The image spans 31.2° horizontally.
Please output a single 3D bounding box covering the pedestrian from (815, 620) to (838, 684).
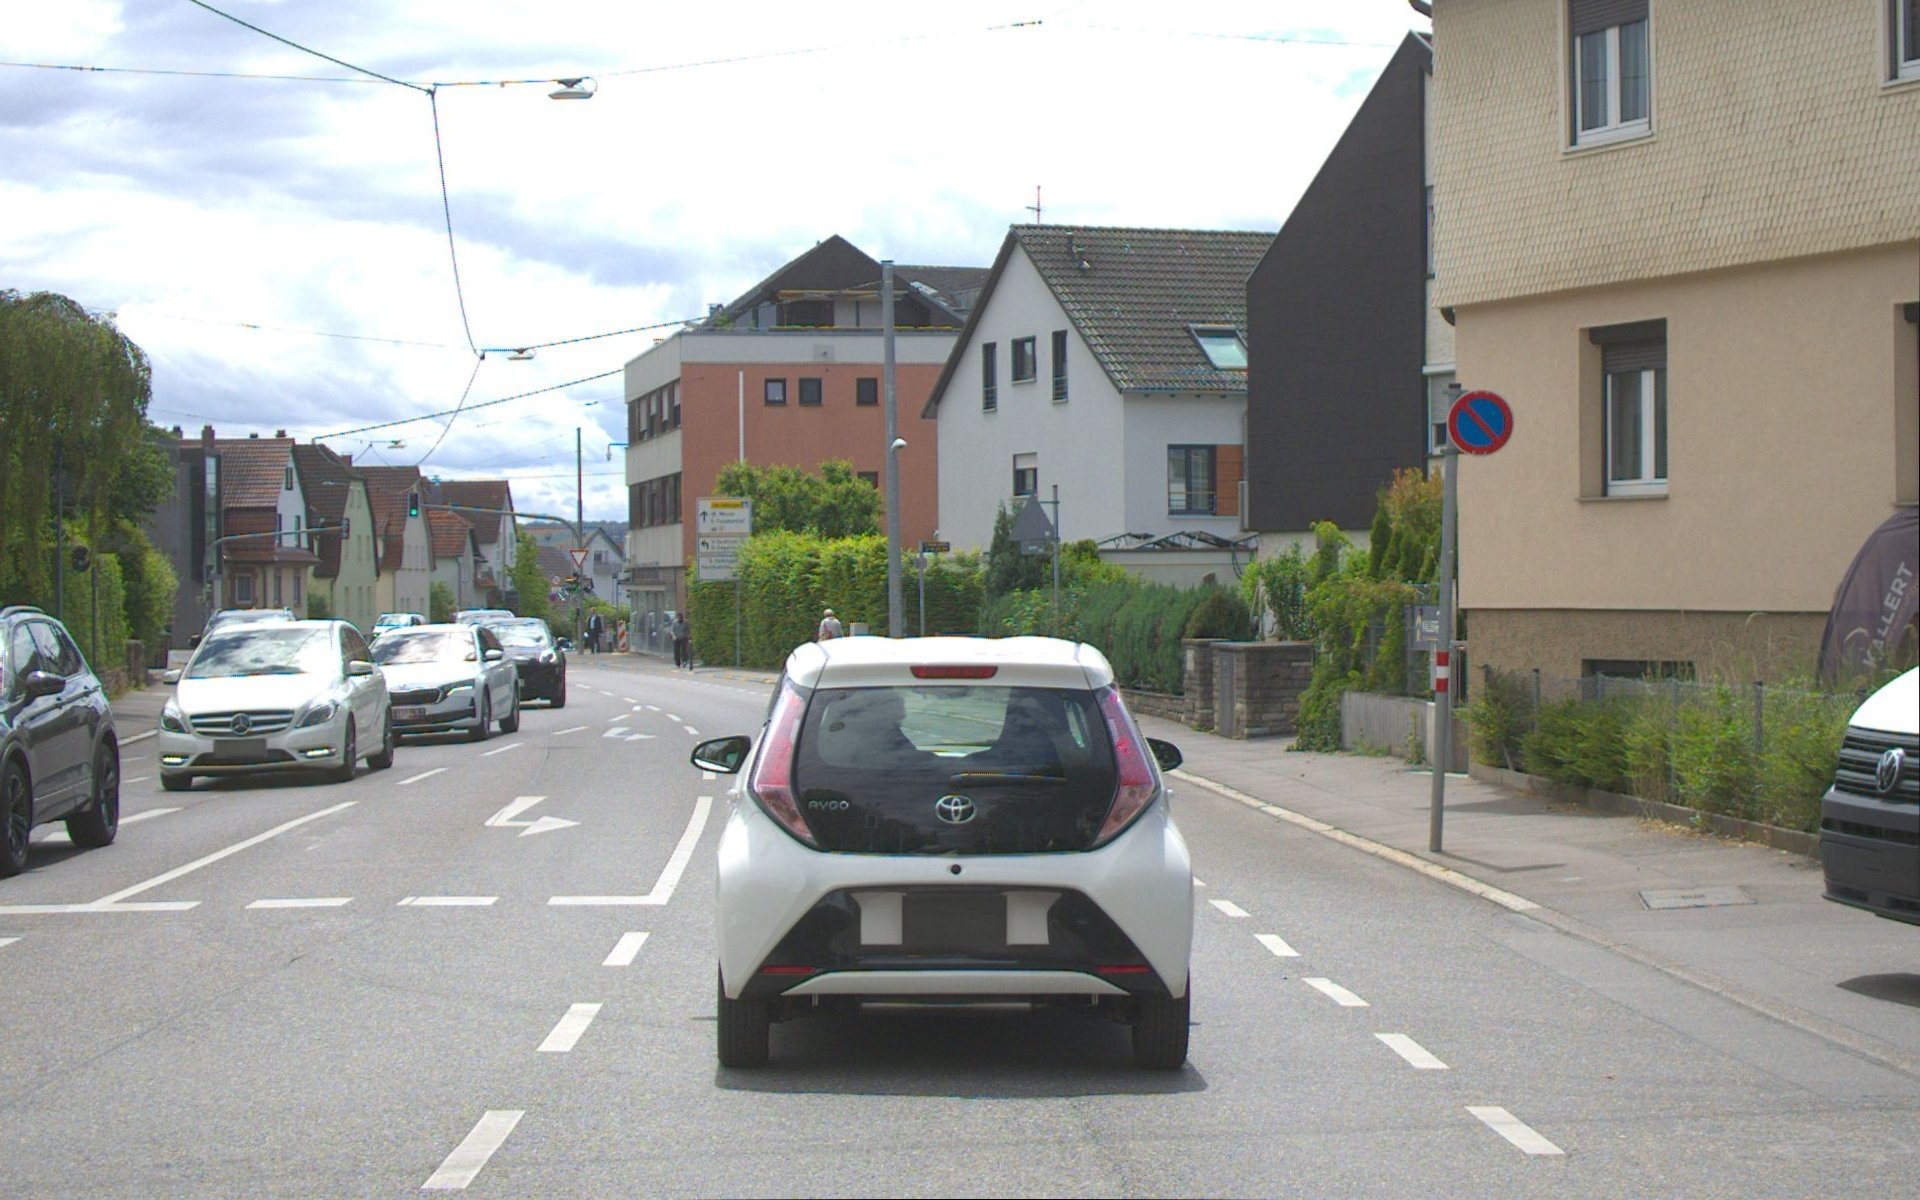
[{"bbox_3d":[-3.002,1.158,77.094,0.413,1.433,0.438,1,0,-15],"label":"pedestrian"}]

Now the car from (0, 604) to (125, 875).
[{"bbox_3d":[-6.639,0.872,21.793,1.775,1.598,4.169,-3,0,-3],"label":"car"}]

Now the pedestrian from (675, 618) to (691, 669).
[{"bbox_3d":[-7.938,1.244,98.401,0.413,1.433,0.438,1,0,-9],"label":"pedestrian"}]

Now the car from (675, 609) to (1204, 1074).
[{"bbox_3d":[-0.225,0.800,13.034,1.620,1.481,4.000,1,-1,-6],"label":"car"}]

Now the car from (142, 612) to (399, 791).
[{"bbox_3d":[-6.661,0.944,33.584,1.775,1.556,4.169,-3,0,-3],"label":"car"}]

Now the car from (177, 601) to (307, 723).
[{"bbox_3d":[-11.754,0.998,56.471,1.774,1.840,4.009,-3,0,-8],"label":"car"}]

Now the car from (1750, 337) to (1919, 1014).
[{"bbox_3d":[6.479,0.287,14.157,5.994,2.573,2.001,0,0,-12],"label":"car"}]

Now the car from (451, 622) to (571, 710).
[{"bbox_3d":[-7.566,1.093,58.224,1.775,1.425,4.009,0,0,-4],"label":"car"}]

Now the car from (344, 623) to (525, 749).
[{"bbox_3d":[-6.621,1.049,43.690,1.775,1.425,4.522,-3,0,-3],"label":"car"}]

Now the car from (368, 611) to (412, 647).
[{"bbox_3d":[-27.484,1.403,165.810,1.993,1.678,4.001,2,-1,-9],"label":"car"}]
